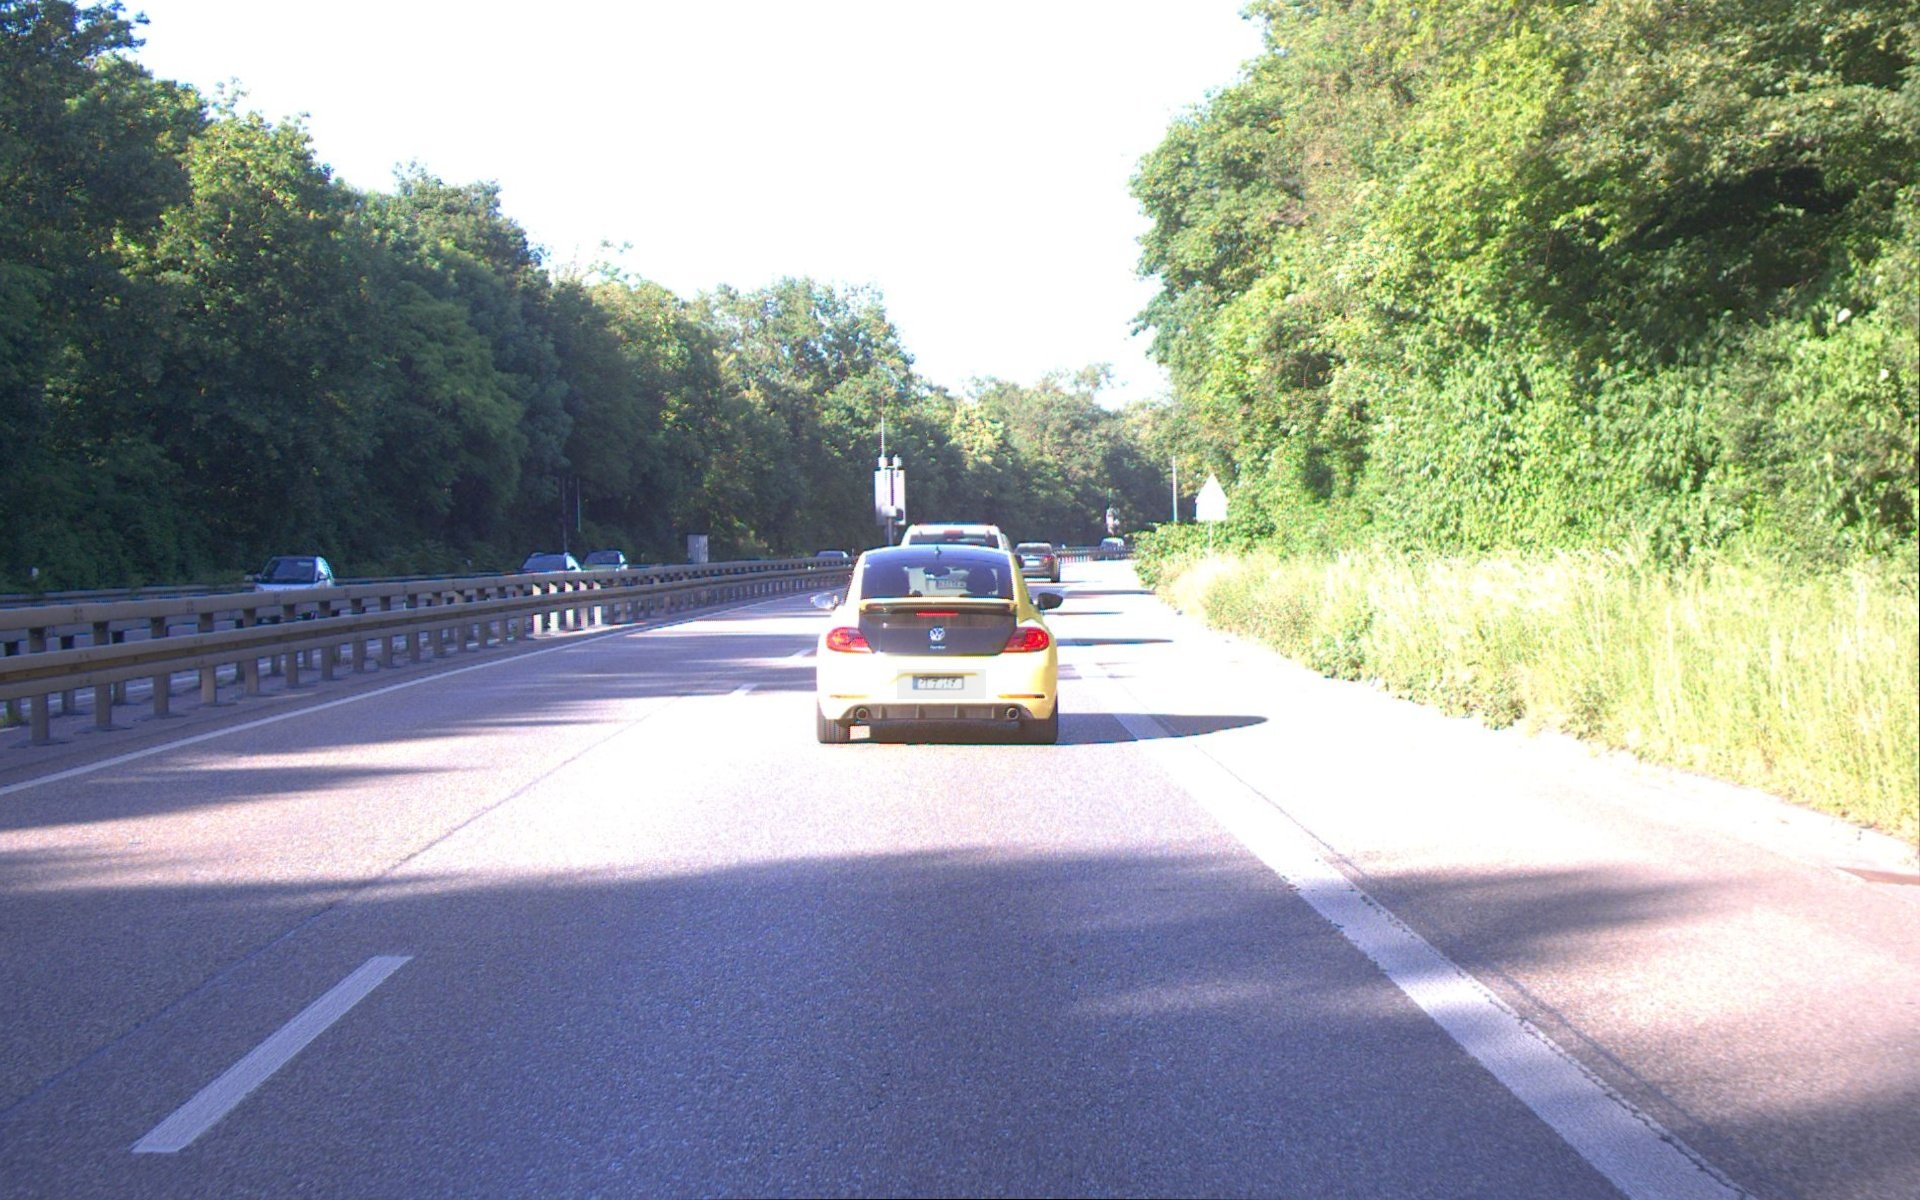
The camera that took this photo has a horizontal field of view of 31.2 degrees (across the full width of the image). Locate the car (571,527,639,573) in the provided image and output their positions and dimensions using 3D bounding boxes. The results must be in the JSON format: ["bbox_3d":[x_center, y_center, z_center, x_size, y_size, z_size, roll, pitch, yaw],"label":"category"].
[{"bbox_3d":[-13.090,-1.864,126.836,1.993,1.579,4.000,-3,1,0],"label":"car"}]

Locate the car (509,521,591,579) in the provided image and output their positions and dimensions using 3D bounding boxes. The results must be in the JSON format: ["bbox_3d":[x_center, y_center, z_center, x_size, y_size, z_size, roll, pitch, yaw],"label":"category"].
[{"bbox_3d":[-13.285,-1.638,111.568,1.993,1.744,4.551,-3,1,0],"label":"car"}]

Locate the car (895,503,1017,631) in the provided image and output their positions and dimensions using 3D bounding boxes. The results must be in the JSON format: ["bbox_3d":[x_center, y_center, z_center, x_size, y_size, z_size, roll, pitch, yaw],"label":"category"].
[{"bbox_3d":[-0.059,-0.510,50.834,1.741,1.823,3.423,0,1,0],"label":"car"}]

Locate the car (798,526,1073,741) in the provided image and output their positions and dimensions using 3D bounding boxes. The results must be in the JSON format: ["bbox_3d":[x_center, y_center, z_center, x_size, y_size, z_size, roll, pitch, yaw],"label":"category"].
[{"bbox_3d":[-0.135,0.201,26.189,1.939,1.503,3.422,-1,1,1],"label":"car"}]

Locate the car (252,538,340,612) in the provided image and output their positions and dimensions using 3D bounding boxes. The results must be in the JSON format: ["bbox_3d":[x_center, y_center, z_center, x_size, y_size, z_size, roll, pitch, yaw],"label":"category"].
[{"bbox_3d":[-15.168,-0.585,78.645,1.414,1.614,2.875,-1,1,0],"label":"car"}]

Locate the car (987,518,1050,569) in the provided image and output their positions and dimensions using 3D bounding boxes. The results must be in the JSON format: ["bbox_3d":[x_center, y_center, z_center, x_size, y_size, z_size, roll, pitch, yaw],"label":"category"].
[{"bbox_3d":[2.180,-2.137,129.780,2.263,1.869,5.076,1,1,0],"label":"car"}]

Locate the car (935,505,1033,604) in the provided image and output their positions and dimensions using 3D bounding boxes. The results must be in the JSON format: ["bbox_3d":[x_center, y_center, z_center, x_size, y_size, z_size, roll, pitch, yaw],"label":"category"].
[{"bbox_3d":[0.513,-1.006,75.016,1.993,2.007,4.000,-3,1,0],"label":"car"}]
